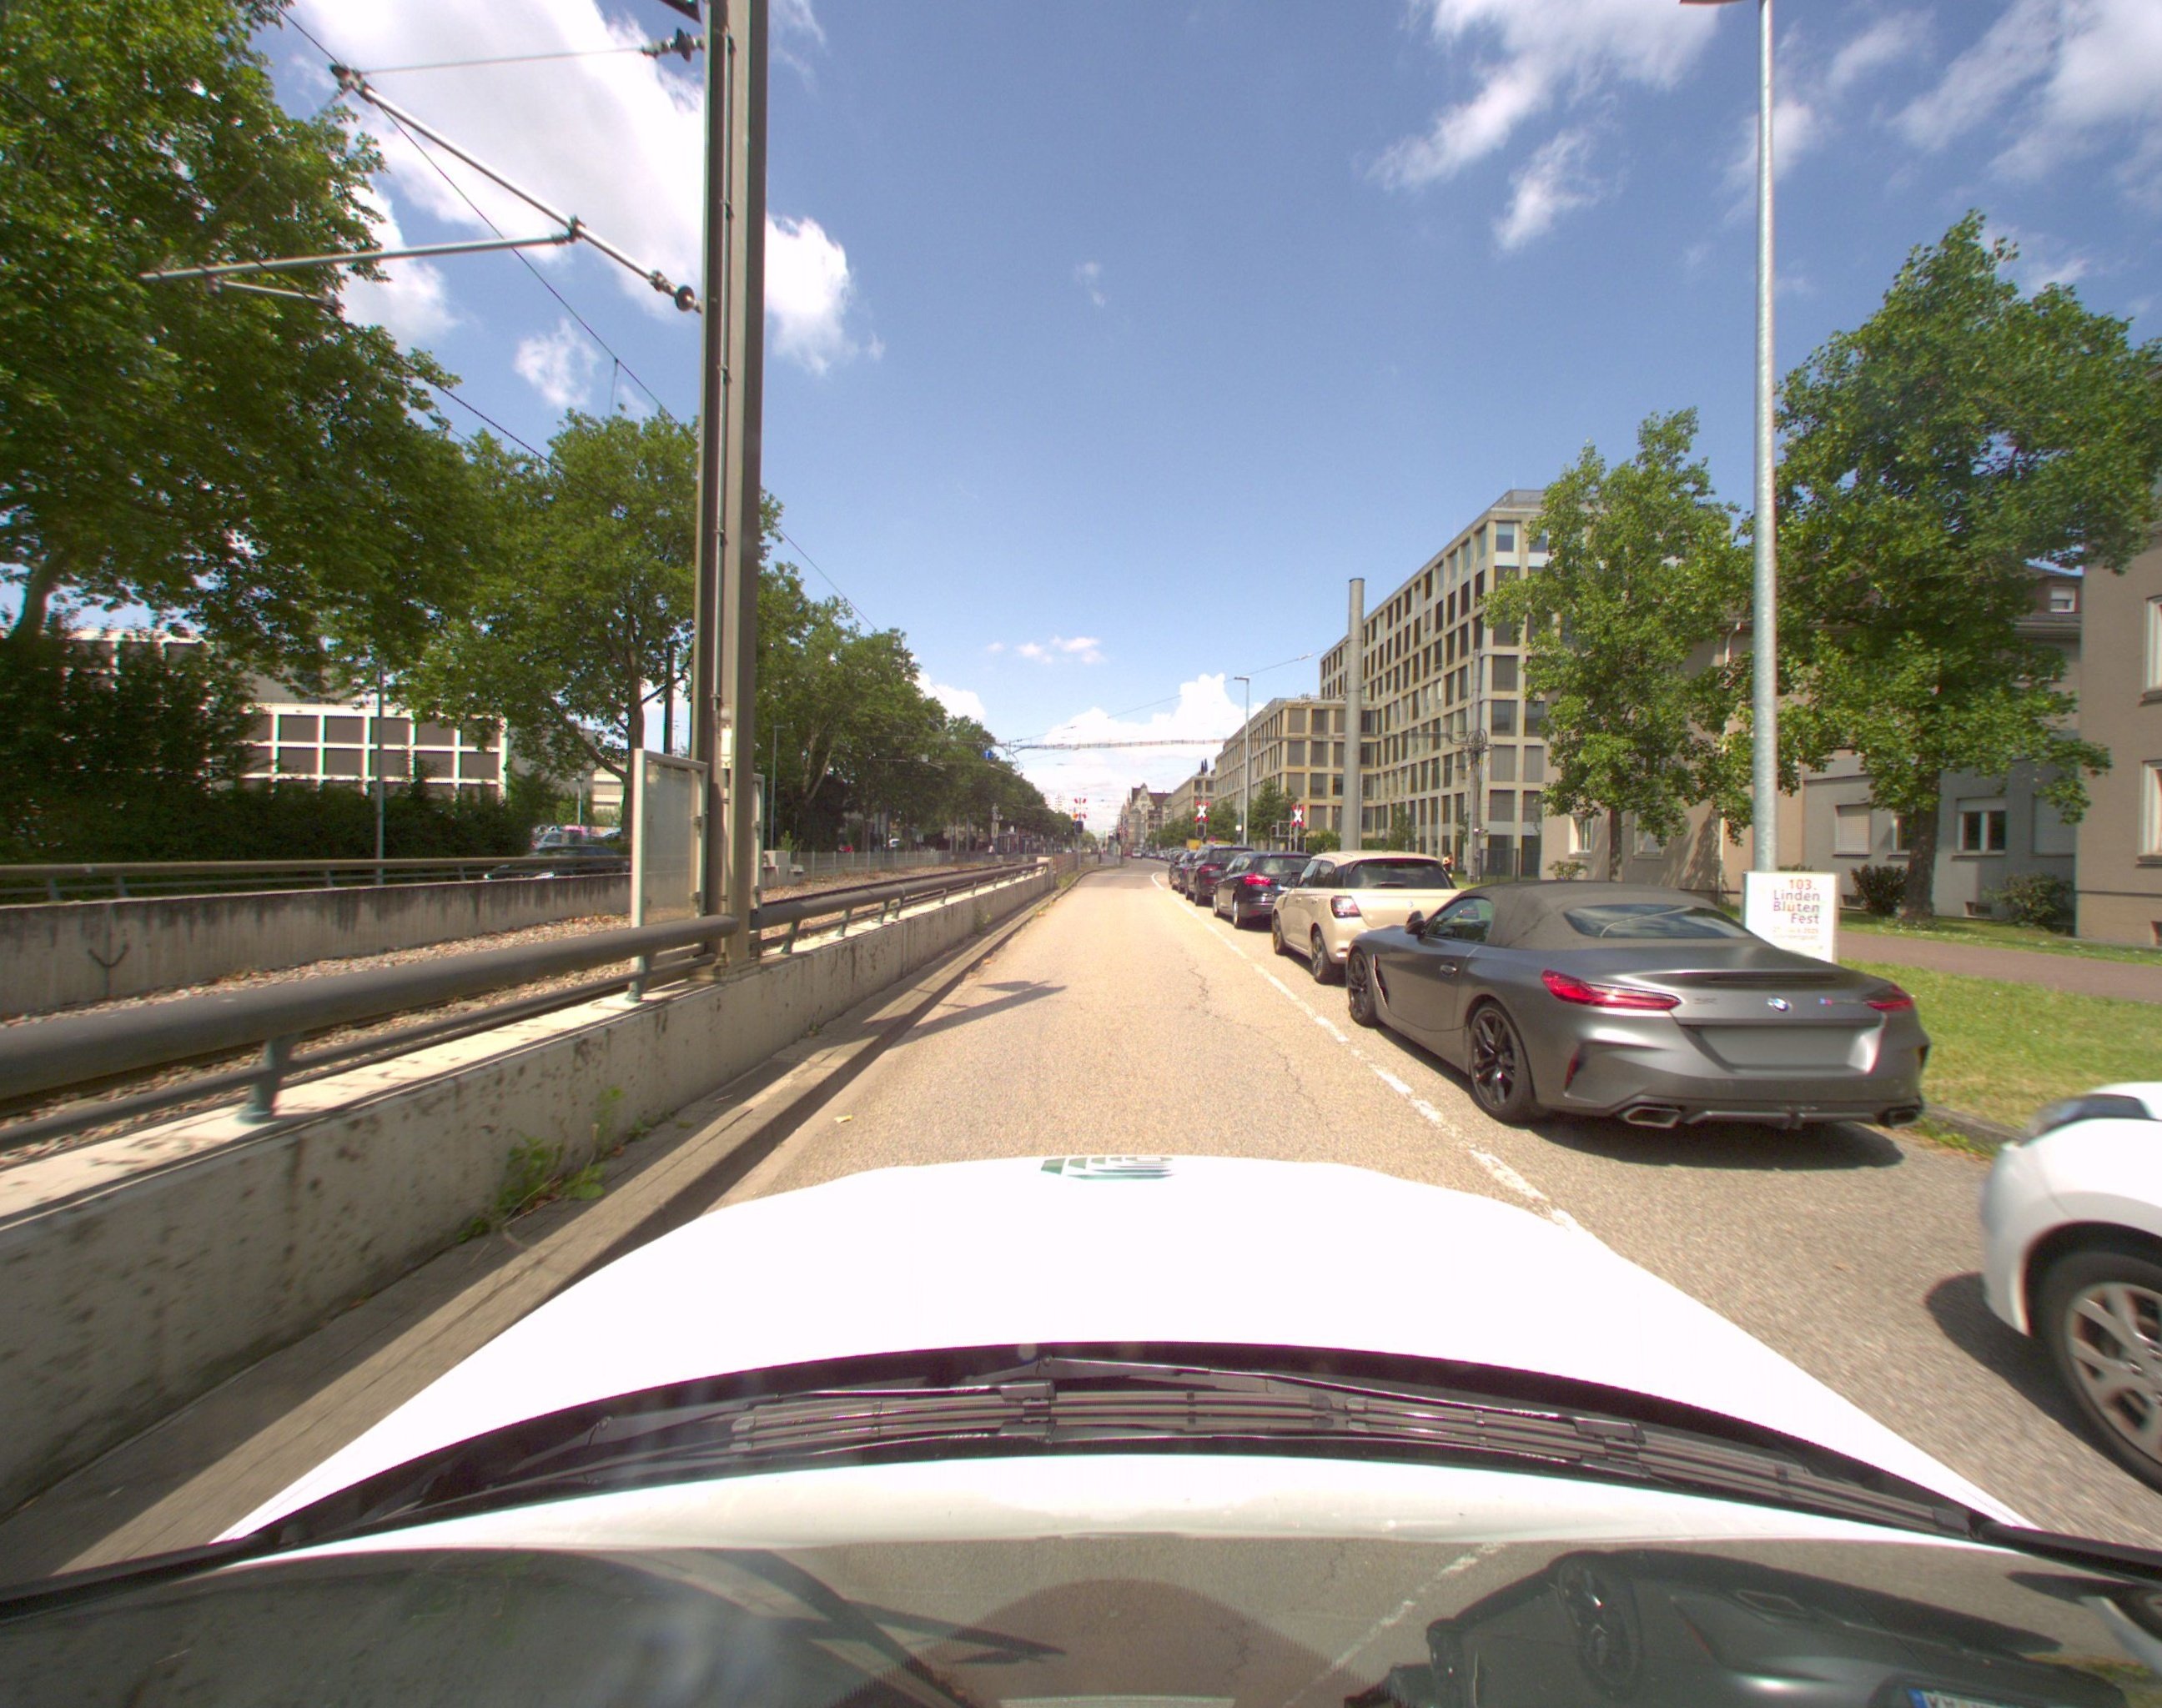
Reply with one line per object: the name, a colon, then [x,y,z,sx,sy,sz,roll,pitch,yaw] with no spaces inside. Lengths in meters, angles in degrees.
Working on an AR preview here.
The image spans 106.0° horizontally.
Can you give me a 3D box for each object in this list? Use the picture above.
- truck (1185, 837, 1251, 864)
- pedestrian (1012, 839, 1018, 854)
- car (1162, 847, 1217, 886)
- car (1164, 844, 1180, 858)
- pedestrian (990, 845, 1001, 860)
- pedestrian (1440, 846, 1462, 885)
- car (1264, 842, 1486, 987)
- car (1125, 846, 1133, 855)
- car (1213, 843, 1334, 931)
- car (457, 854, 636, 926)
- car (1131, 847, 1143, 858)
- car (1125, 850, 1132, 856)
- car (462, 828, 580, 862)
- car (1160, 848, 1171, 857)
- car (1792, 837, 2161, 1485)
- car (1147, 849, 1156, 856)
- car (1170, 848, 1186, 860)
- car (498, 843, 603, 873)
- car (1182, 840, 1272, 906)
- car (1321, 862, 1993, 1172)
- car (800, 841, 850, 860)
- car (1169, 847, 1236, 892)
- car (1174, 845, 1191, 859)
truck: [15.004,-0.348,89.426,6.785,2.867,2.454,1,0,-1]
pedestrian: [-7.930,-0.910,97.892,0.704,1.845,0.864,-1,0,1]
car: [4.511,0.481,34.397,1.773,1.540,4.420,0,0,0]
car: [13.489,-0.450,120.728,1.875,1.939,4.845,0,0,2]
pedestrian: [-7.489,-0.132,71.461,0.859,1.343,0.922,-1,0,-2]
pedestrian: [15.250,0.469,33.585,0.620,1.608,0.624,-1,0,-1]
car: [3.513,0.623,10.455,1.662,1.515,3.854,0,0,3]
car: [11.426,-0.812,193.775,1.986,2.013,4.002,-1,0,2]
car: [3.734,0.565,16.529,1.637,1.530,4.446,0,0,3]
car: [-13.510,0.832,20.957,1.661,1.597,4.300,0,1,2]
car: [9.824,-0.298,143.025,1.862,1.746,4.001,2,0,1]
car: [11.318,-0.236,193.787,1.438,1.470,4.092,-1,0,0]
car: [-25.384,-0.421,37.020,3.971,1.442,2.001,1,0,2]
car: [14.642,-0.312,141.585,1.679,1.606,4.153,0,0,2]
car: [3.264,0.702,0.959,1.700,1.479,3.793,0,0,3]
car: [15.069,-0.392,174.410,1.585,1.460,3.615,2,1,3]
car: [13.057,-0.021,109.569,1.714,1.619,3.861,1,0,2]
car: [-26.785,0.189,41.233,3.971,1.442,2.001,1,0,2]
car: [3.963,0.441,22.792,1.809,1.662,4.673,0,1,2]
car: [3.227,0.746,5.863,1.817,1.311,4.444,0,0,2]
car: [-23.313,-0.316,74.377,3.976,1.750,1.802,0,0,-2]
car: [4.299,0.490,29.444,1.809,1.454,4.992,0,1,2]
car: [12.925,-0.262,104.075,1.762,1.767,4.842,1,0,2]
